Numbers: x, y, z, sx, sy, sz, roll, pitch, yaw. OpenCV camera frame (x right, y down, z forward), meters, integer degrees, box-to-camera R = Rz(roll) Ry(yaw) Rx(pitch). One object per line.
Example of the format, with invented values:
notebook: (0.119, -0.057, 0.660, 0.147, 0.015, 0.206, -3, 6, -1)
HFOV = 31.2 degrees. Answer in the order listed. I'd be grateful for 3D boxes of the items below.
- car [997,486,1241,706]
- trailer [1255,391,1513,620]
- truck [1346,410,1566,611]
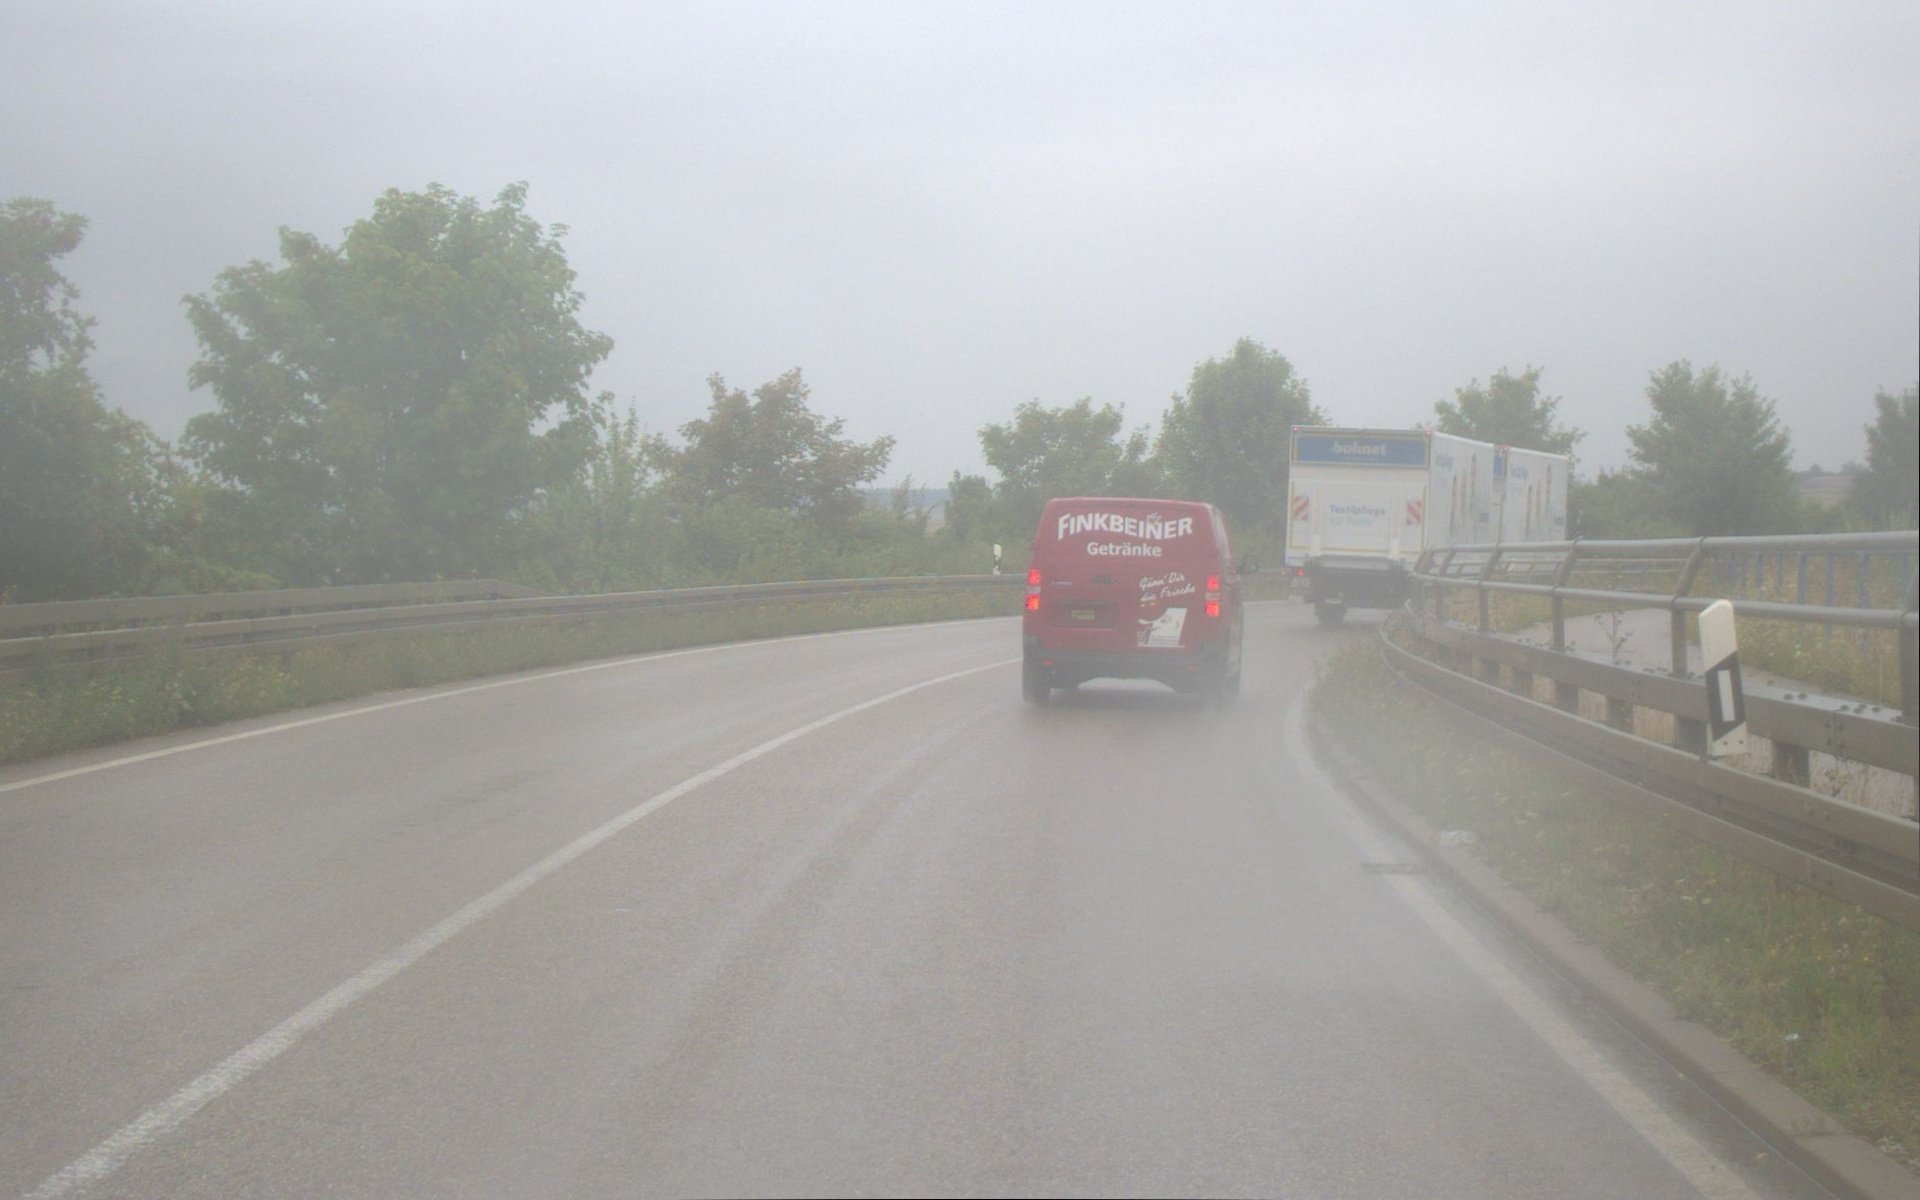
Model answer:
car: (1.568, -0.104, 32.414, 1.994, 1.919, 4.142, 1, 2, 7)
trailer: (8.089, -1.735, 64.485, 3.204, 3.908, 8.733, 3, 2, 17)
truck: (10.630, -1.872, 72.878, 3.204, 3.908, 8.733, 3, 2, 17)
